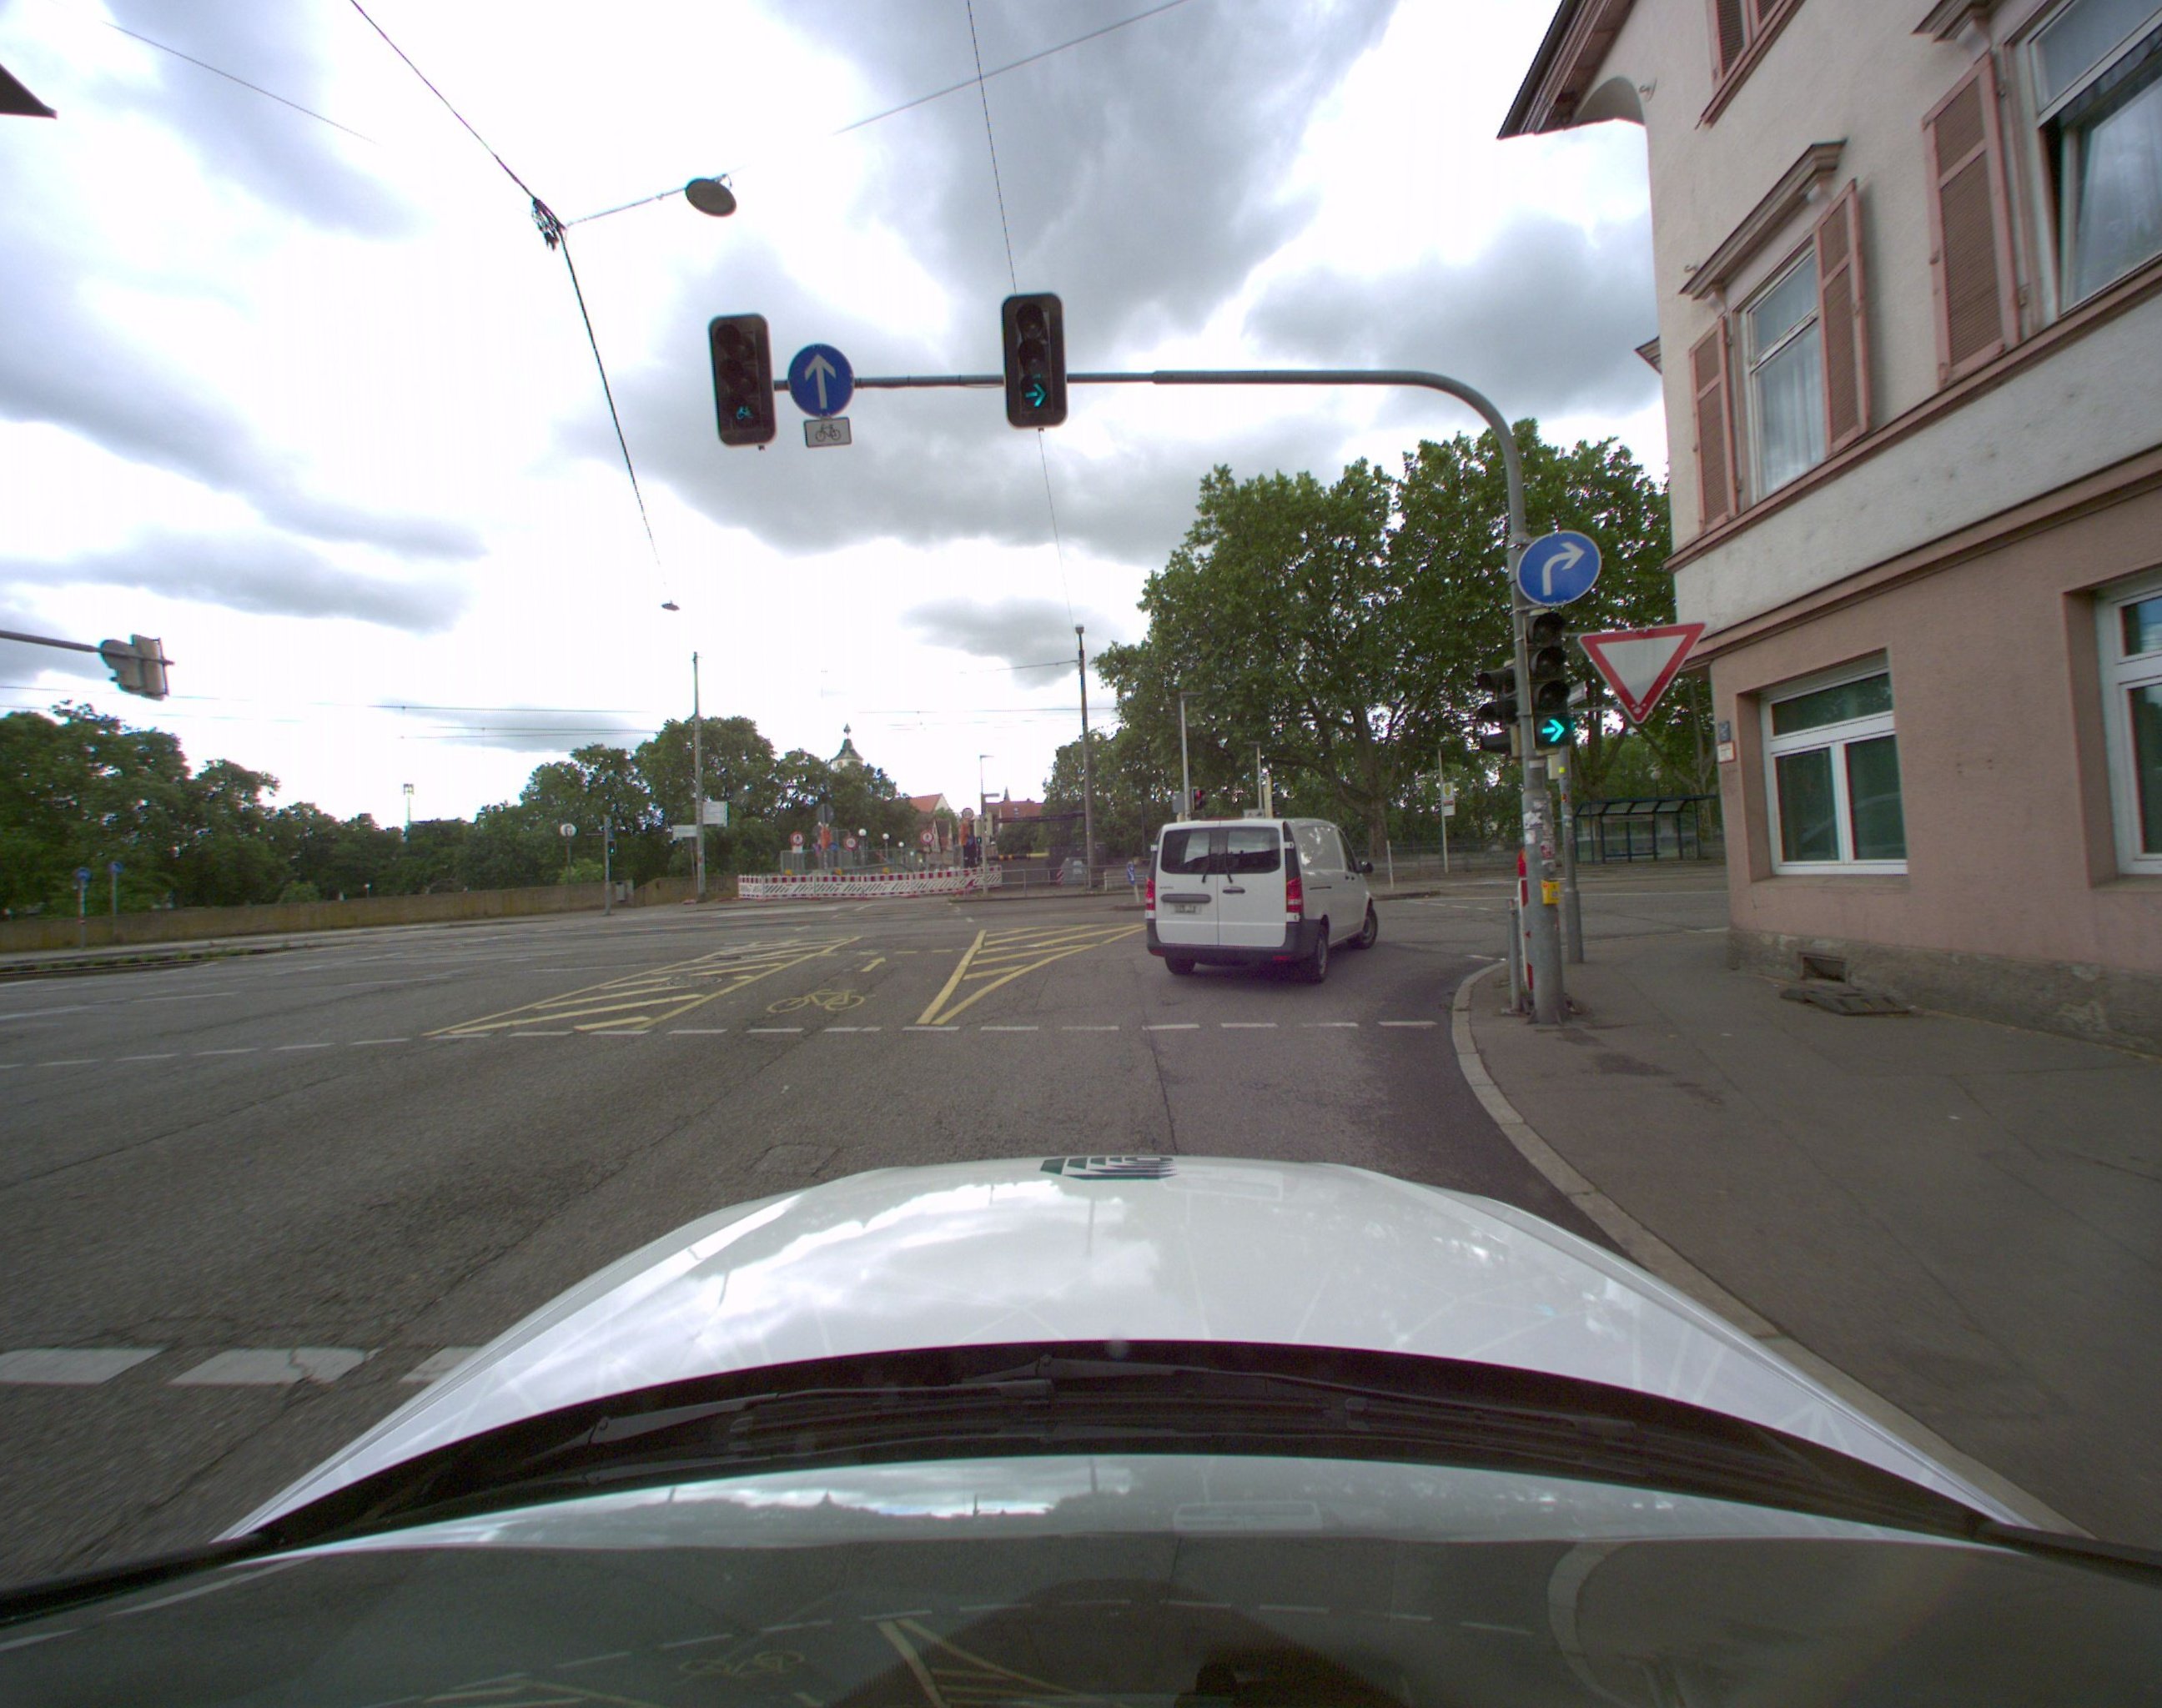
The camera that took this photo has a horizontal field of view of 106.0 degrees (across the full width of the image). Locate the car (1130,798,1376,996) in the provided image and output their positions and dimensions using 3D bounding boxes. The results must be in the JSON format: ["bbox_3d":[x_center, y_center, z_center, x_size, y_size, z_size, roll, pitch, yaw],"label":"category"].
[{"bbox_3d":[2.537,0.437,10.824,1.932,2.013,4.726,-2,0,28],"label":"car"}]
